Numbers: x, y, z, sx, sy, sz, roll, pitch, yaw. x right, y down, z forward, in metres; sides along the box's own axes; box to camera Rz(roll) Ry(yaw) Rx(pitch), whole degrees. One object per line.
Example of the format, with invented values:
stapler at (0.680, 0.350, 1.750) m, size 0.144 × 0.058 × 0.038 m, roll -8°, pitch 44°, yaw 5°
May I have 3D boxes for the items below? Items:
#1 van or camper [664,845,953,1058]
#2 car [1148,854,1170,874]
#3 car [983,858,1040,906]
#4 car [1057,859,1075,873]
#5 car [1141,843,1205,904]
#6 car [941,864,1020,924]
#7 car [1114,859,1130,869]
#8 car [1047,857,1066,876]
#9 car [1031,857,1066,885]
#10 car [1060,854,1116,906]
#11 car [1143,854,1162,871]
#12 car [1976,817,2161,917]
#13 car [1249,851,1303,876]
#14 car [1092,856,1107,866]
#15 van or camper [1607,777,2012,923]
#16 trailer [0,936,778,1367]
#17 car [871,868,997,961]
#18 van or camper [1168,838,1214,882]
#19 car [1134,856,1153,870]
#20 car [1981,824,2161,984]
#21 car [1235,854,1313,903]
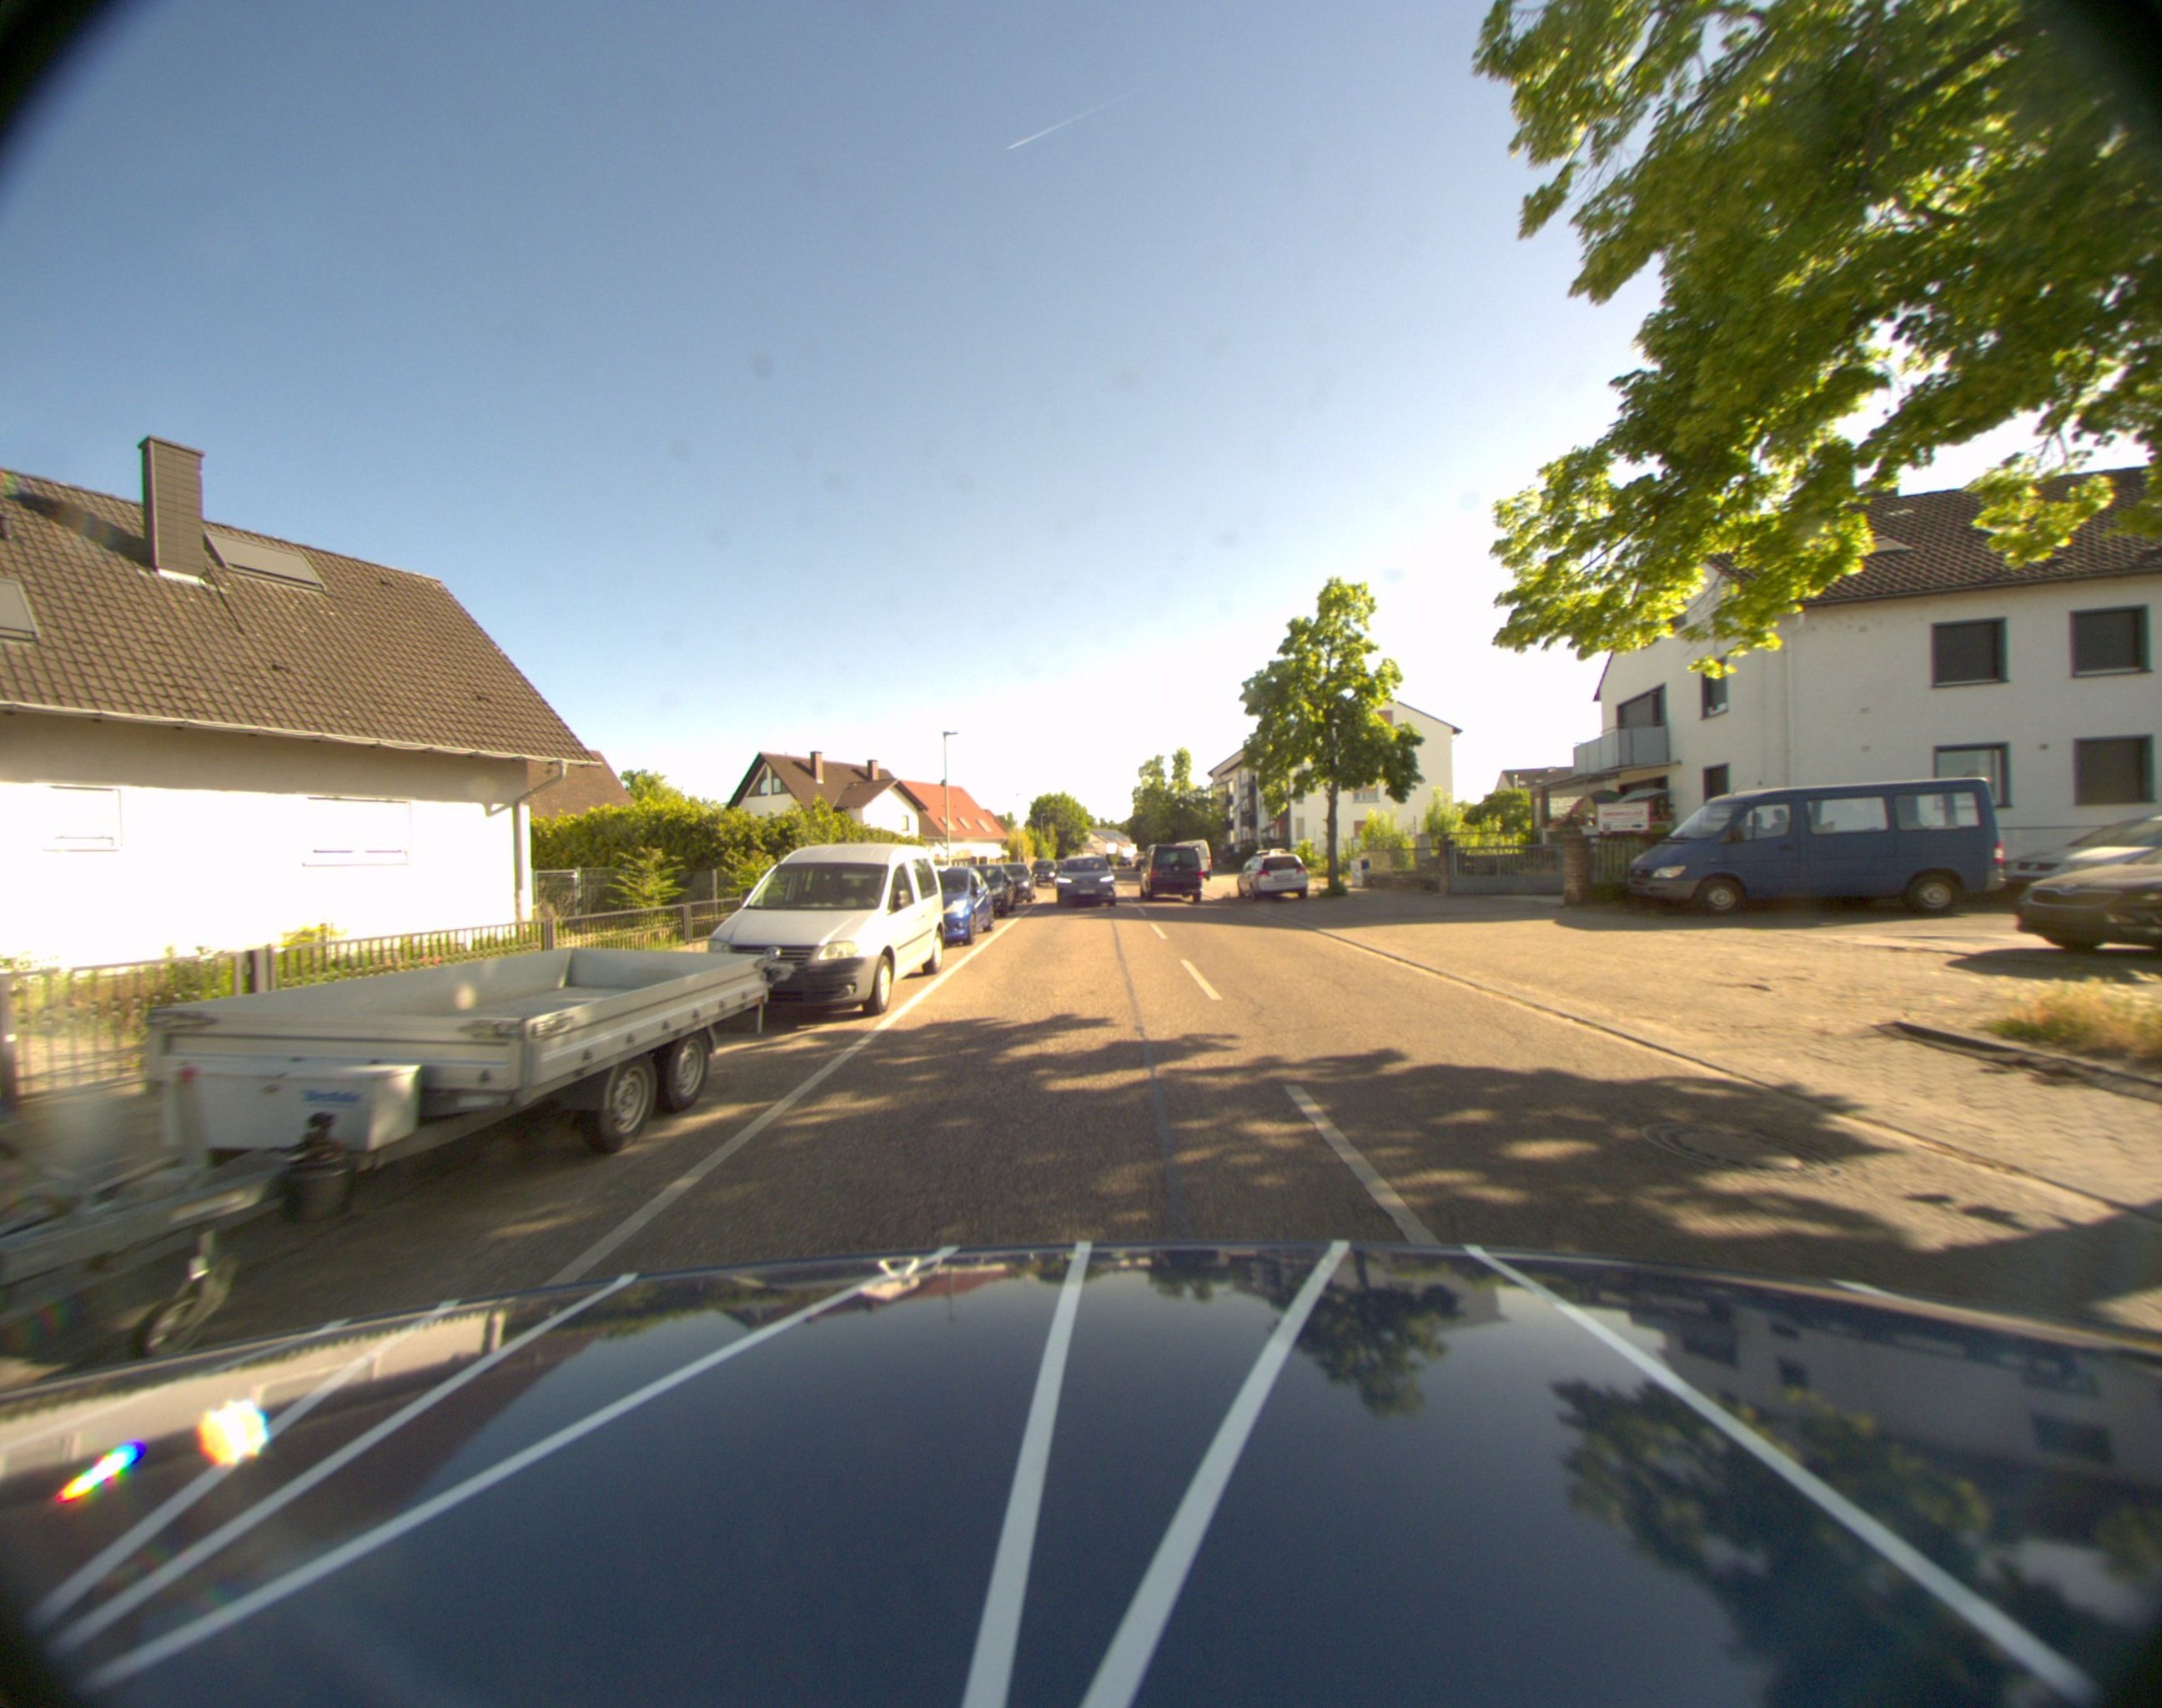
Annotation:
van or camper at (-2.822, 0.886, 8.974) m, size 1.723 × 1.879 × 4.180 m, roll -2°, pitch 0°, yaw 2°
car at (6.934, 0.868, 67.726) m, size 1.696 × 1.556 × 3.908 m, roll -5°, pitch 0°, yaw 4°
car at (-2.583, 0.994, 29.082) m, size 1.780 × 1.649 × 3.816 m, roll -2°, pitch 0°, yaw 0°
car at (-1.531, 1.271, 80.796) m, size 1.646 × 1.485 × 3.890 m, roll -1°, pitch 0°, yaw 3°
car at (3.271, 0.648, 27.798) m, size 1.898 × 2.019 × 4.818 m, roll 0°, pitch 0°, yaw 2°
car at (-2.830, 1.090, 22.238) m, size 1.723 × 1.496 × 3.907 m, roll -2°, pitch 0°, yaw 0°
car at (7.692, 1.847, 141.066) m, size 1.774 × 1.727 × 3.710 m, roll 1°, pitch 0°, yaw 23°
car at (-2.262, 1.151, 70.907) m, size 1.661 × 1.591 × 3.815 m, roll -2°, pitch 0°, yaw -2°
car at (-2.030, 1.034, 48.733) m, size 1.780 × 1.649 × 4.304 m, roll -2°, pitch 0°, yaw 3°
car at (0.239, 0.851, 26.155) m, size 1.777 × 1.624 × 3.704 m, roll -1°, pitch -1°, yaw 0°
car at (7.465, 0.863, 79.915) m, size 1.726 × 1.583 × 3.909 m, roll -7°, pitch 0°, yaw 4°
car at (18.283, 0.182, 12.743) m, size 3.988 × 1.570 × 1.680 m, roll -1°, pitch 2°, yaw 15°
car at (13.303, 0.613, 51.693) m, size 1.610 × 1.505 × 4.397 m, roll -2°, pitch 0°, yaw 42°
car at (3.056, 1.220, 126.974) m, size 1.635 × 1.565 × 3.708 m, roll 1°, pitch 0°, yaw 15°
van or camper at (13.028, -0.026, 14.055) m, size 4.899 × 2.307 × 2.246 m, roll -2°, pitch 1°, yaw 15°
trailer at (-3.190, 1.269, 4.391) m, size 1.631 × 1.210 × 3.144 m, roll -2°, pitch 0°, yaw -1°
car at (-2.766, 1.089, 15.059) m, size 1.723 × 1.496 × 3.563 m, roll -2°, pitch 0°, yaw 0°
van or camper at (6.853, 0.398, 47.916) m, size 2.128 × 2.475 × 5.556 m, roll -3°, pitch -1°, yaw 1°
car at (7.391, 1.050, 89.967) m, size 1.726 × 1.485 × 4.543 m, roll -5°, pitch 0°, yaw 0°
car at (12.727, 0.417, 7.905) m, size 4.257 × 1.533 × 1.767 m, roll -2°, pitch 0°, yaw 7°
car at (6.426, 0.768, 25.725) m, size 1.691 × 1.427 × 4.210 m, roll -4°, pitch 0°, yaw 3°
